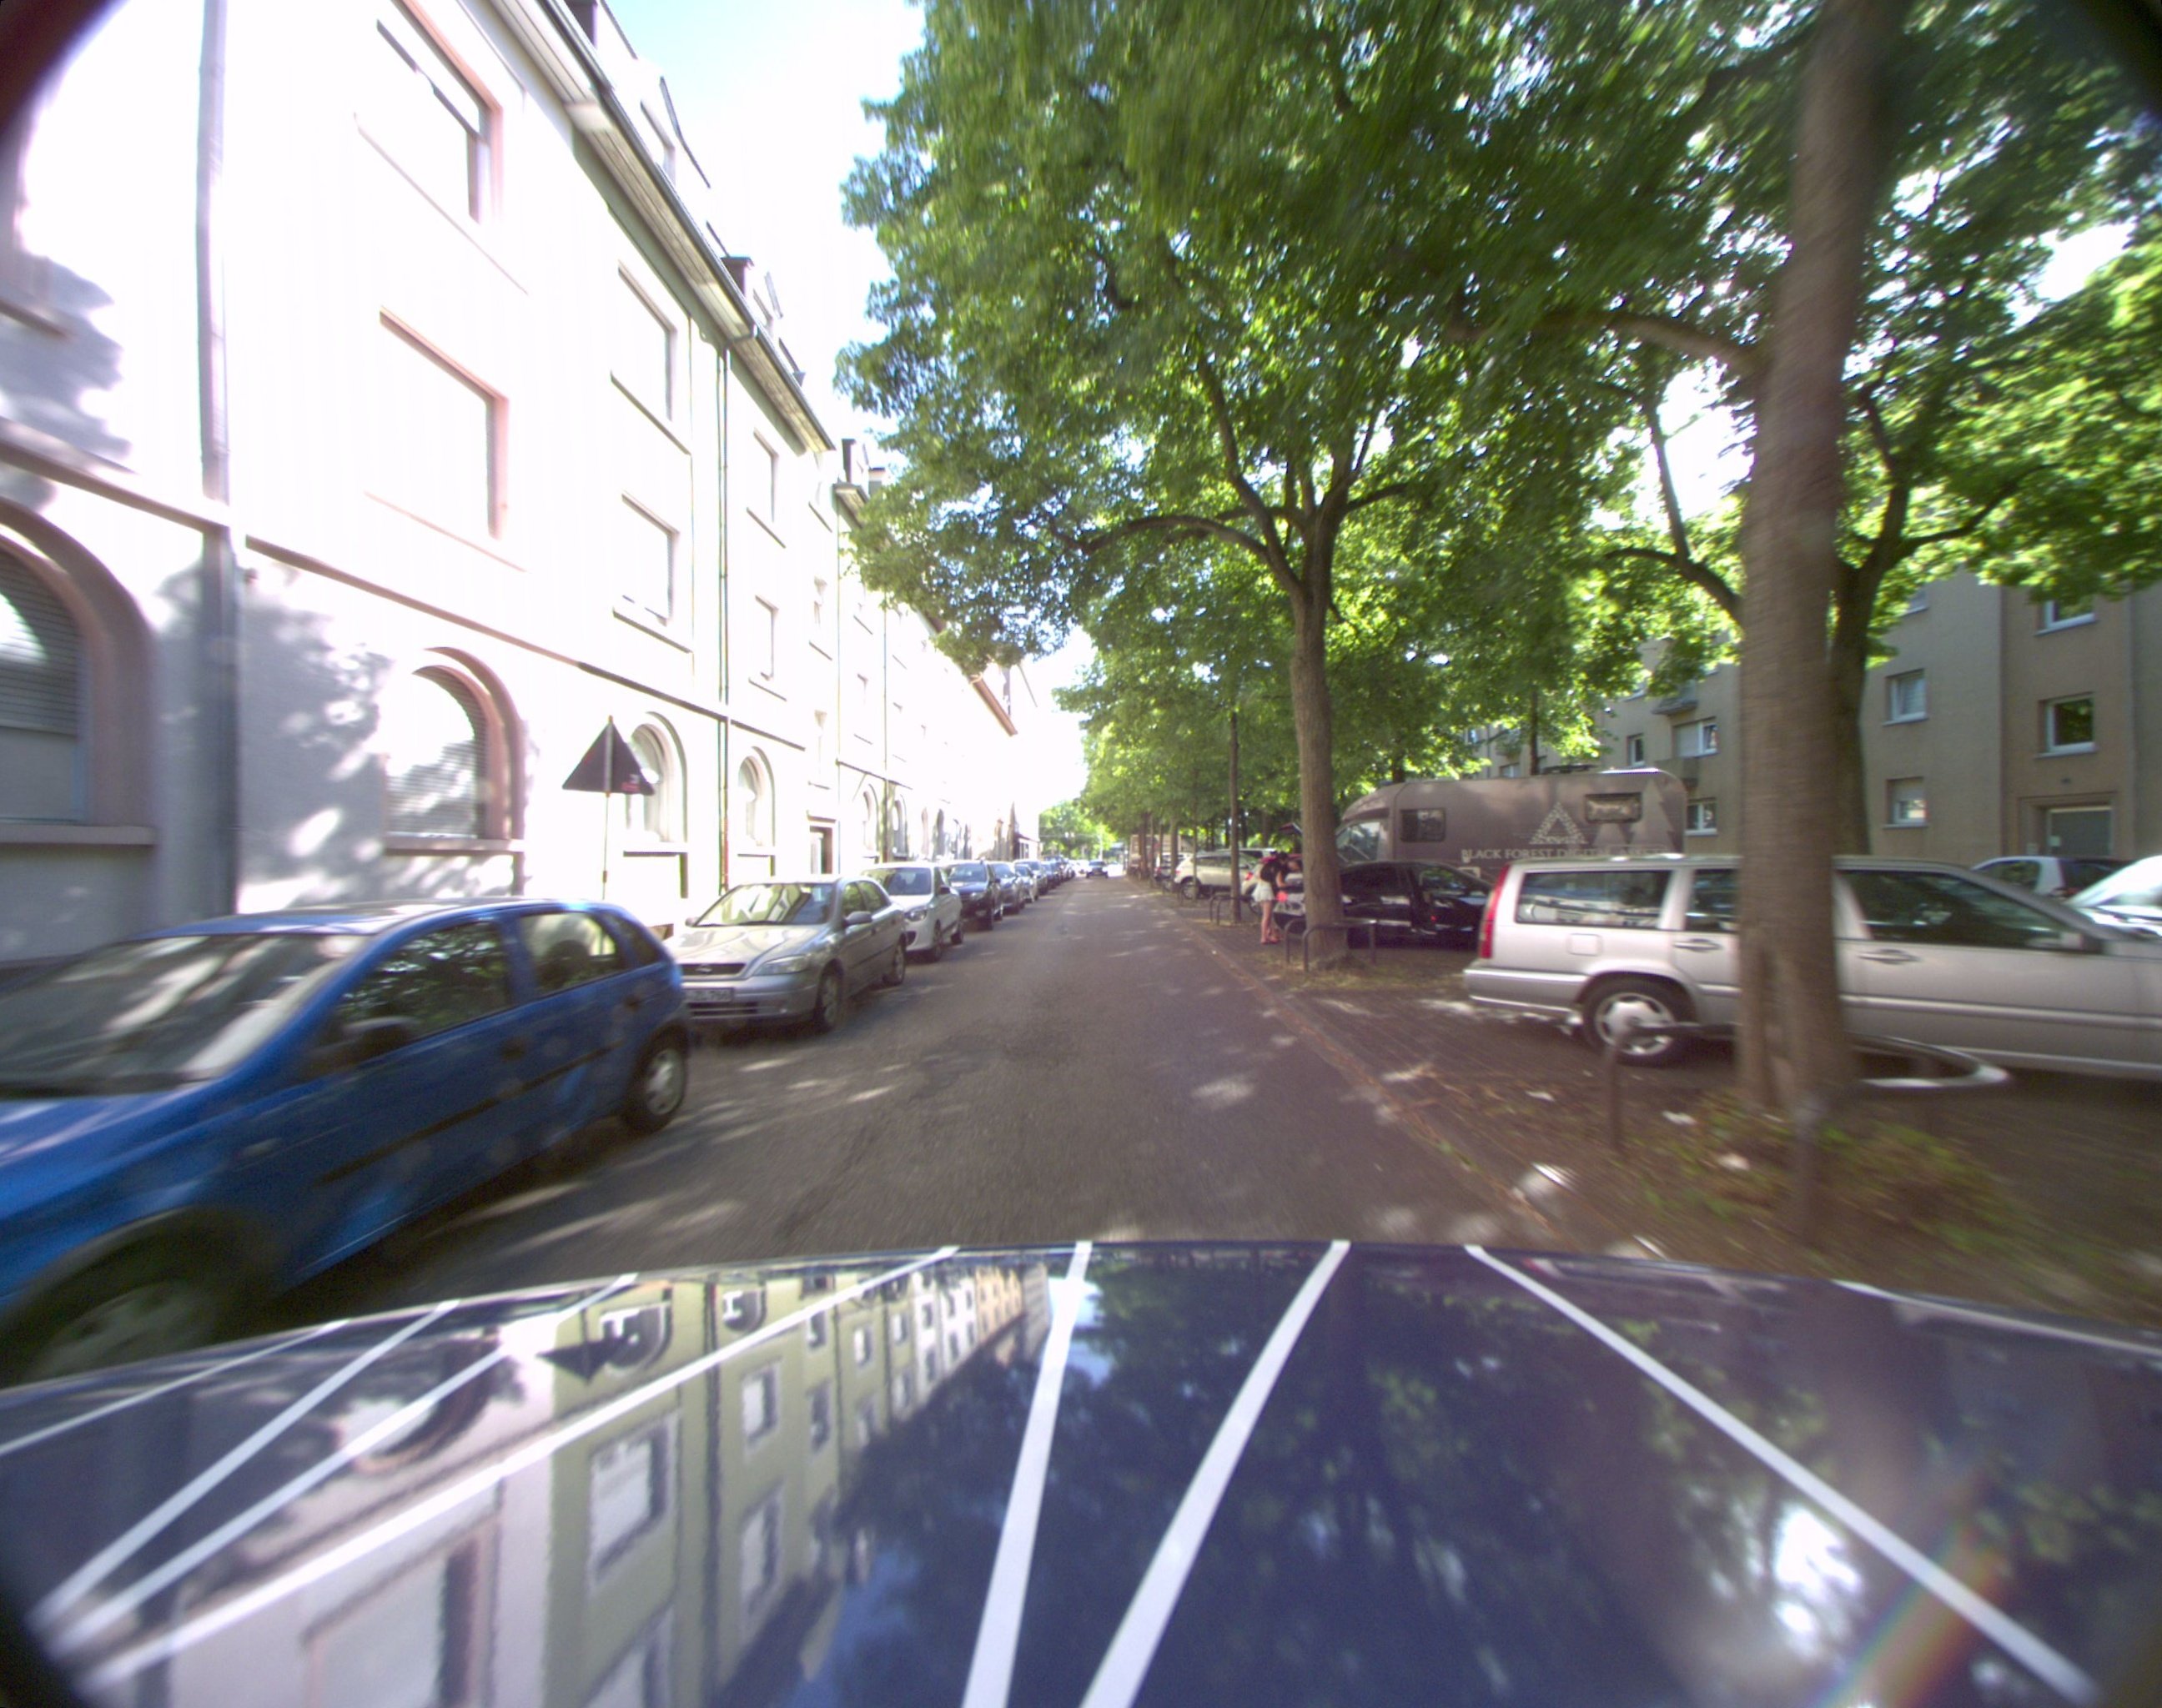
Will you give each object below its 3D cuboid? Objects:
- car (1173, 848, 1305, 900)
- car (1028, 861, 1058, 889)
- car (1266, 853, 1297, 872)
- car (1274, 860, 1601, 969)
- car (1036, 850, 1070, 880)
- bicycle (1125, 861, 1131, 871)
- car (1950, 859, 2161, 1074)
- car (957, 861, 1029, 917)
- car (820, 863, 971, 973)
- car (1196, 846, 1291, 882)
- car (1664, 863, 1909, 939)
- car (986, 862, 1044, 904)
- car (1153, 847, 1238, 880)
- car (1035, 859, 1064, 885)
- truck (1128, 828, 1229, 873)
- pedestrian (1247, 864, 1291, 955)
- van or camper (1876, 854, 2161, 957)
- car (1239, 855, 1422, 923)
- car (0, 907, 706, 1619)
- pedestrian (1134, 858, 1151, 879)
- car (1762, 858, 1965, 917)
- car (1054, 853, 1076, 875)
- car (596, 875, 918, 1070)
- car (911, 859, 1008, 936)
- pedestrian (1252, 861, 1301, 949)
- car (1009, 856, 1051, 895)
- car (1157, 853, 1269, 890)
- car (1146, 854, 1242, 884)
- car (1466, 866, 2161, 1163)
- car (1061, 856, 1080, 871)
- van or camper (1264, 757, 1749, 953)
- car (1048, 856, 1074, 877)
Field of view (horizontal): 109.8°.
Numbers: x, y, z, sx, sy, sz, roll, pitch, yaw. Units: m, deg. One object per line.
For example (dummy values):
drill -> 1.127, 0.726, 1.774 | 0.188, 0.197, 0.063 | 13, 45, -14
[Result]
car -> 5.454, 0.671, 26.339 | 4.136, 1.669, 1.762 | -1, 0, 30
car -> -2.028, 1.117, 41.242 | 1.553, 1.386, 3.860 | -1, 0, -2
car -> 17.404, 0.718, 66.149 | 1.758, 1.560, 3.950 | -1, 0, 2
car -> 5.379, 0.833, 11.820 | 4.318, 1.416, 1.678 | -1, 0, 28
car -> -1.845, 0.719, 52.040 | 1.953, 1.889, 4.846 | -1, 0, 2
bicycle -> 5.050, 1.288, 81.682 | 0.354, 1.066, 1.591 | -1, 0, -9
car -> 8.812, 0.743, 5.106 | 3.564, 1.416, 1.678 | -1, 0, 31
car -> -2.588, 0.992, 23.205 | 1.727, 1.519, 4.158 | -1, 0, -1
car -> -2.939, 0.944, 12.769 | 1.635, 1.525, 3.592 | -1, 0, 0
car -> 8.671, 0.494, 40.632 | 4.593, 1.821, 2.022 | 0, 1, 31
car -> 16.001, 0.987, 17.618 | 1.768, 1.499, 4.309 | 0, 0, 2
car -> -2.421, 1.027, 28.848 | 1.726, 1.424, 4.158 | -1, 0, 1
car -> 6.803, 0.547, 45.216 | 4.512, 1.854, 2.085 | -1, 0, 27
car -> -1.891, 1.066, 46.458 | 1.626, 1.489, 3.595 | -1, 0, -1
truck -> 7.397, -0.221, 58.330 | 7.305, 3.274, 2.552 | 0, 0, 33
pedestrian -> 3.080, 0.884, 12.433 | 0.615, 1.447, 0.520 | 0, 1, 25
van or camper -> 15.523, 0.775, 12.740 | 1.600, 1.546, 2.697 | 0, 0, 1
car -> 6.085, 0.789, 18.607 | 3.989, 1.498, 1.761 | 0, 0, 30
car -> -3.231, 1.041, 2.891 | 1.621, 1.404, 3.788 | -1, 0, 2
pedestrian -> 4.178, 0.971, 51.758 | 0.751, 1.388, 0.930 | 0, 0, 33
car -> 20.136, 0.799, 19.798 | 1.628, 1.378, 3.612 | 0, 0, 2
car -> -1.300, 0.785, 63.060 | 1.766, 1.743, 4.509 | -1, 0, 0
car -> -3.000, 0.995, 8.051 | 1.635, 1.404, 4.088 | -1, 0, 0
car -> -2.746, 0.923, 18.074 | 1.727, 1.587, 4.157 | -1, 0, -2
pedestrian -> 3.351, 0.847, 13.012 | 0.710, 1.447, 0.597 | 0, 1, 25
car -> -2.323, 0.953, 35.328 | 1.727, 1.676, 4.157 | -1, 0, -1
car -> 5.640, 0.752, 32.778 | 4.411, 1.453, 1.719 | -1, 1, 34
car -> 5.713, 0.736, 38.576 | 4.477, 1.447, 1.791 | -1, 0, 33
car -> 5.121, 0.816, 4.939 | 4.476, 1.435, 1.736 | -1, 0, 34
car -> -1.088, 0.990, 78.979 | 1.723, 1.488, 4.024 | -1, 0, 3
van or camper -> 7.289, 0.039, 14.017 | 7.230, 2.912, 2.318 | 0, 0, 29
car -> -1.495, 0.906, 57.515 | 1.766, 1.491, 4.238 | -1, 0, 1
